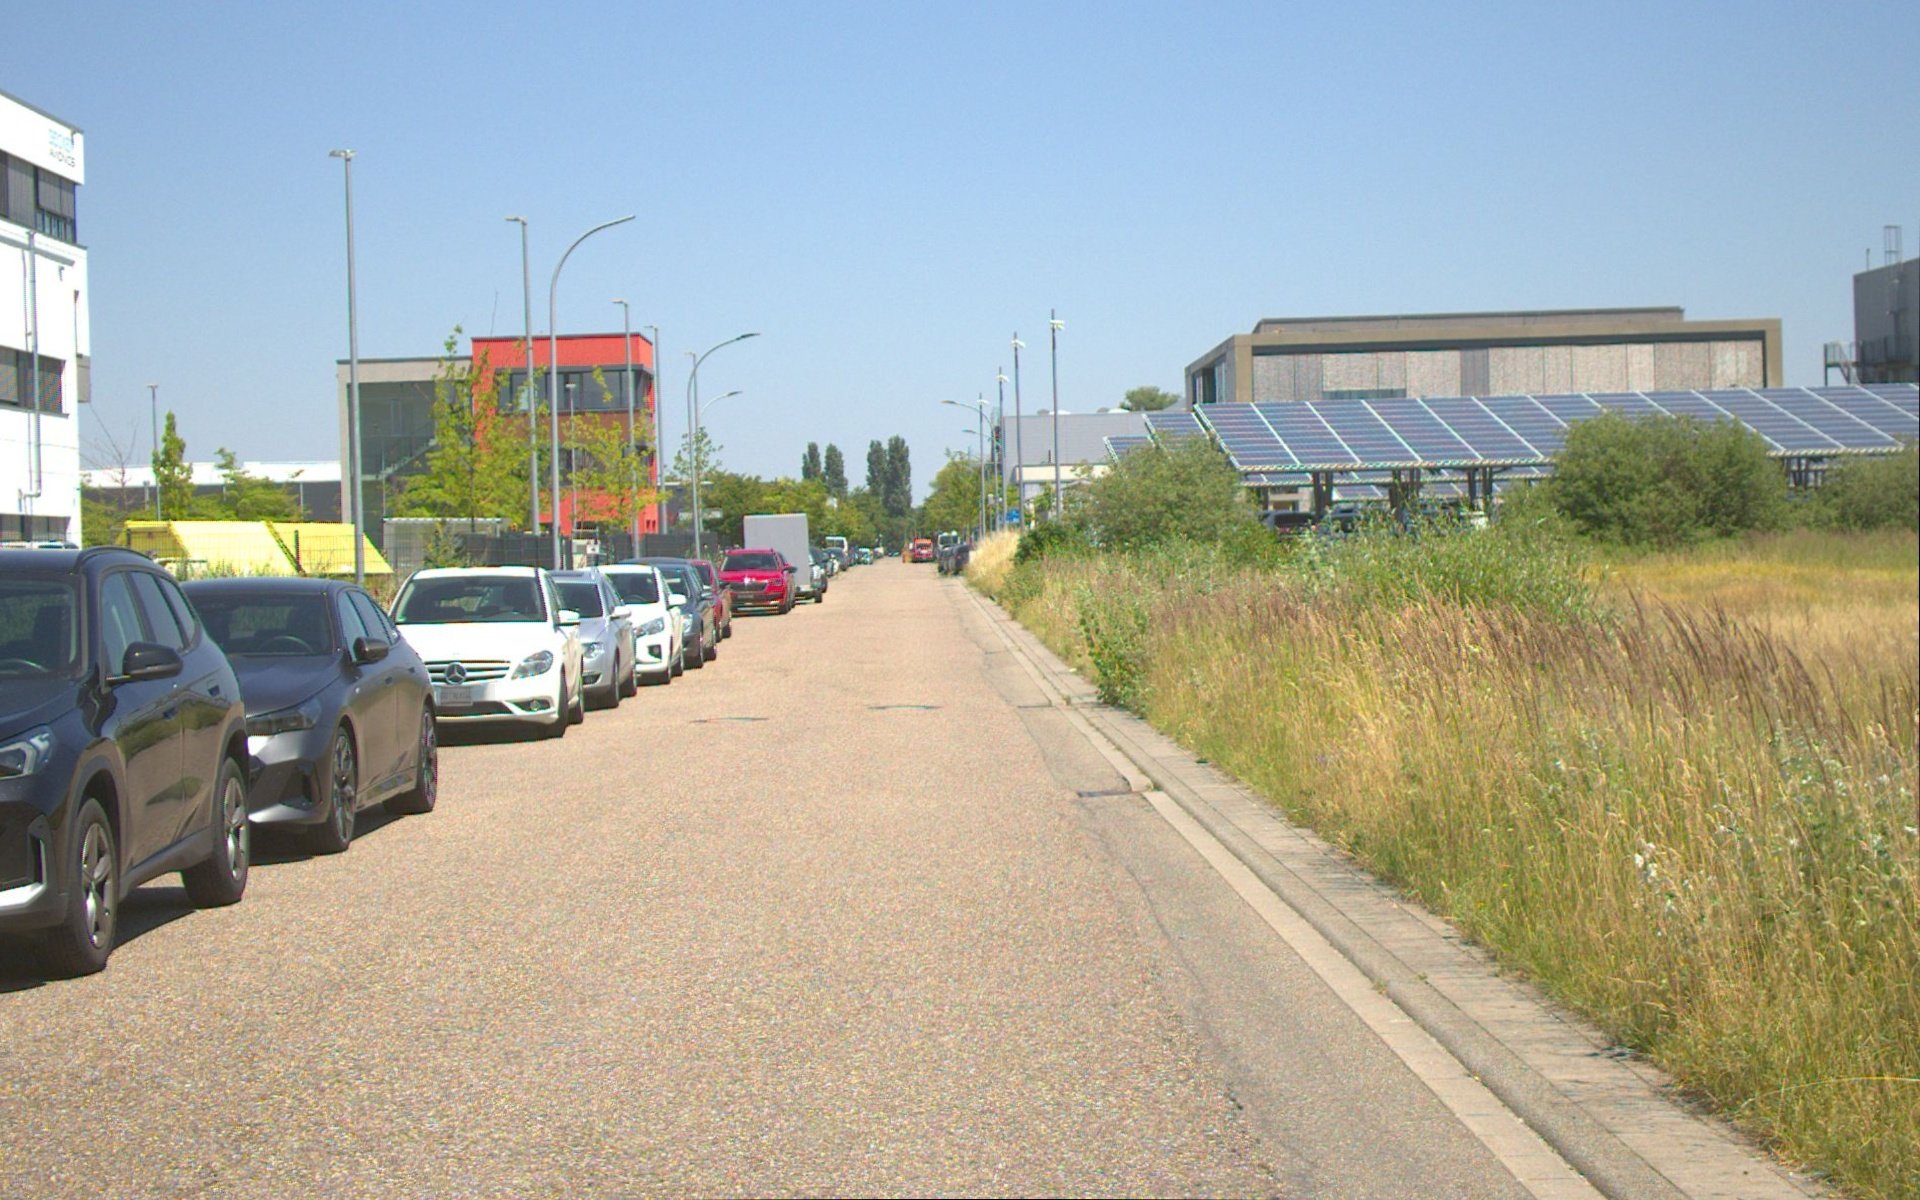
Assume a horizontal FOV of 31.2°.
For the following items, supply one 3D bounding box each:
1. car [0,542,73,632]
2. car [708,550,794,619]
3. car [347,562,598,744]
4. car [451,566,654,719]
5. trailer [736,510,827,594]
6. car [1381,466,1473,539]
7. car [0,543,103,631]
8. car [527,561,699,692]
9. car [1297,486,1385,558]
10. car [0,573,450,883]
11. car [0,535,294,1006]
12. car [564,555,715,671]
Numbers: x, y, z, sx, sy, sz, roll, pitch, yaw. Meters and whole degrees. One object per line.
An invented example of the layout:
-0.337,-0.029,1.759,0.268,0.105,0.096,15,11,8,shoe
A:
-22.254,-0.237,76.302,4.528,1.936,2.031,-2,1,0,car
-4.892,-0.374,80.776,1.787,1.515,3.983,-2,1,-1,car
-4.487,0.443,32.157,1.787,1.515,3.983,-2,1,-1,car
-4.457,0.422,38.109,1.787,1.515,3.983,-2,1,-1,car
-4.760,-1.297,92.326,2.201,2.130,4.286,-2,1,-1,trailer
13.571,-2.818,100.084,1.993,2.007,4.000,-2,1,-1,car
-22.293,-0.269,79.170,4.528,1.936,2.031,-2,1,0,car
-4.384,0.299,43.933,1.787,1.515,3.983,-2,1,-1,car
11.068,-2.252,100.179,1.993,2.007,4.000,-2,1,-1,car
-4.234,0.641,20.130,1.768,1.481,5.015,-2,1,-1,car
-4.121,0.589,14.422,1.768,1.657,4.552,-2,1,-1,car
-4.536,0.150,49.105,1.787,1.515,3.983,-2,1,-1,car
